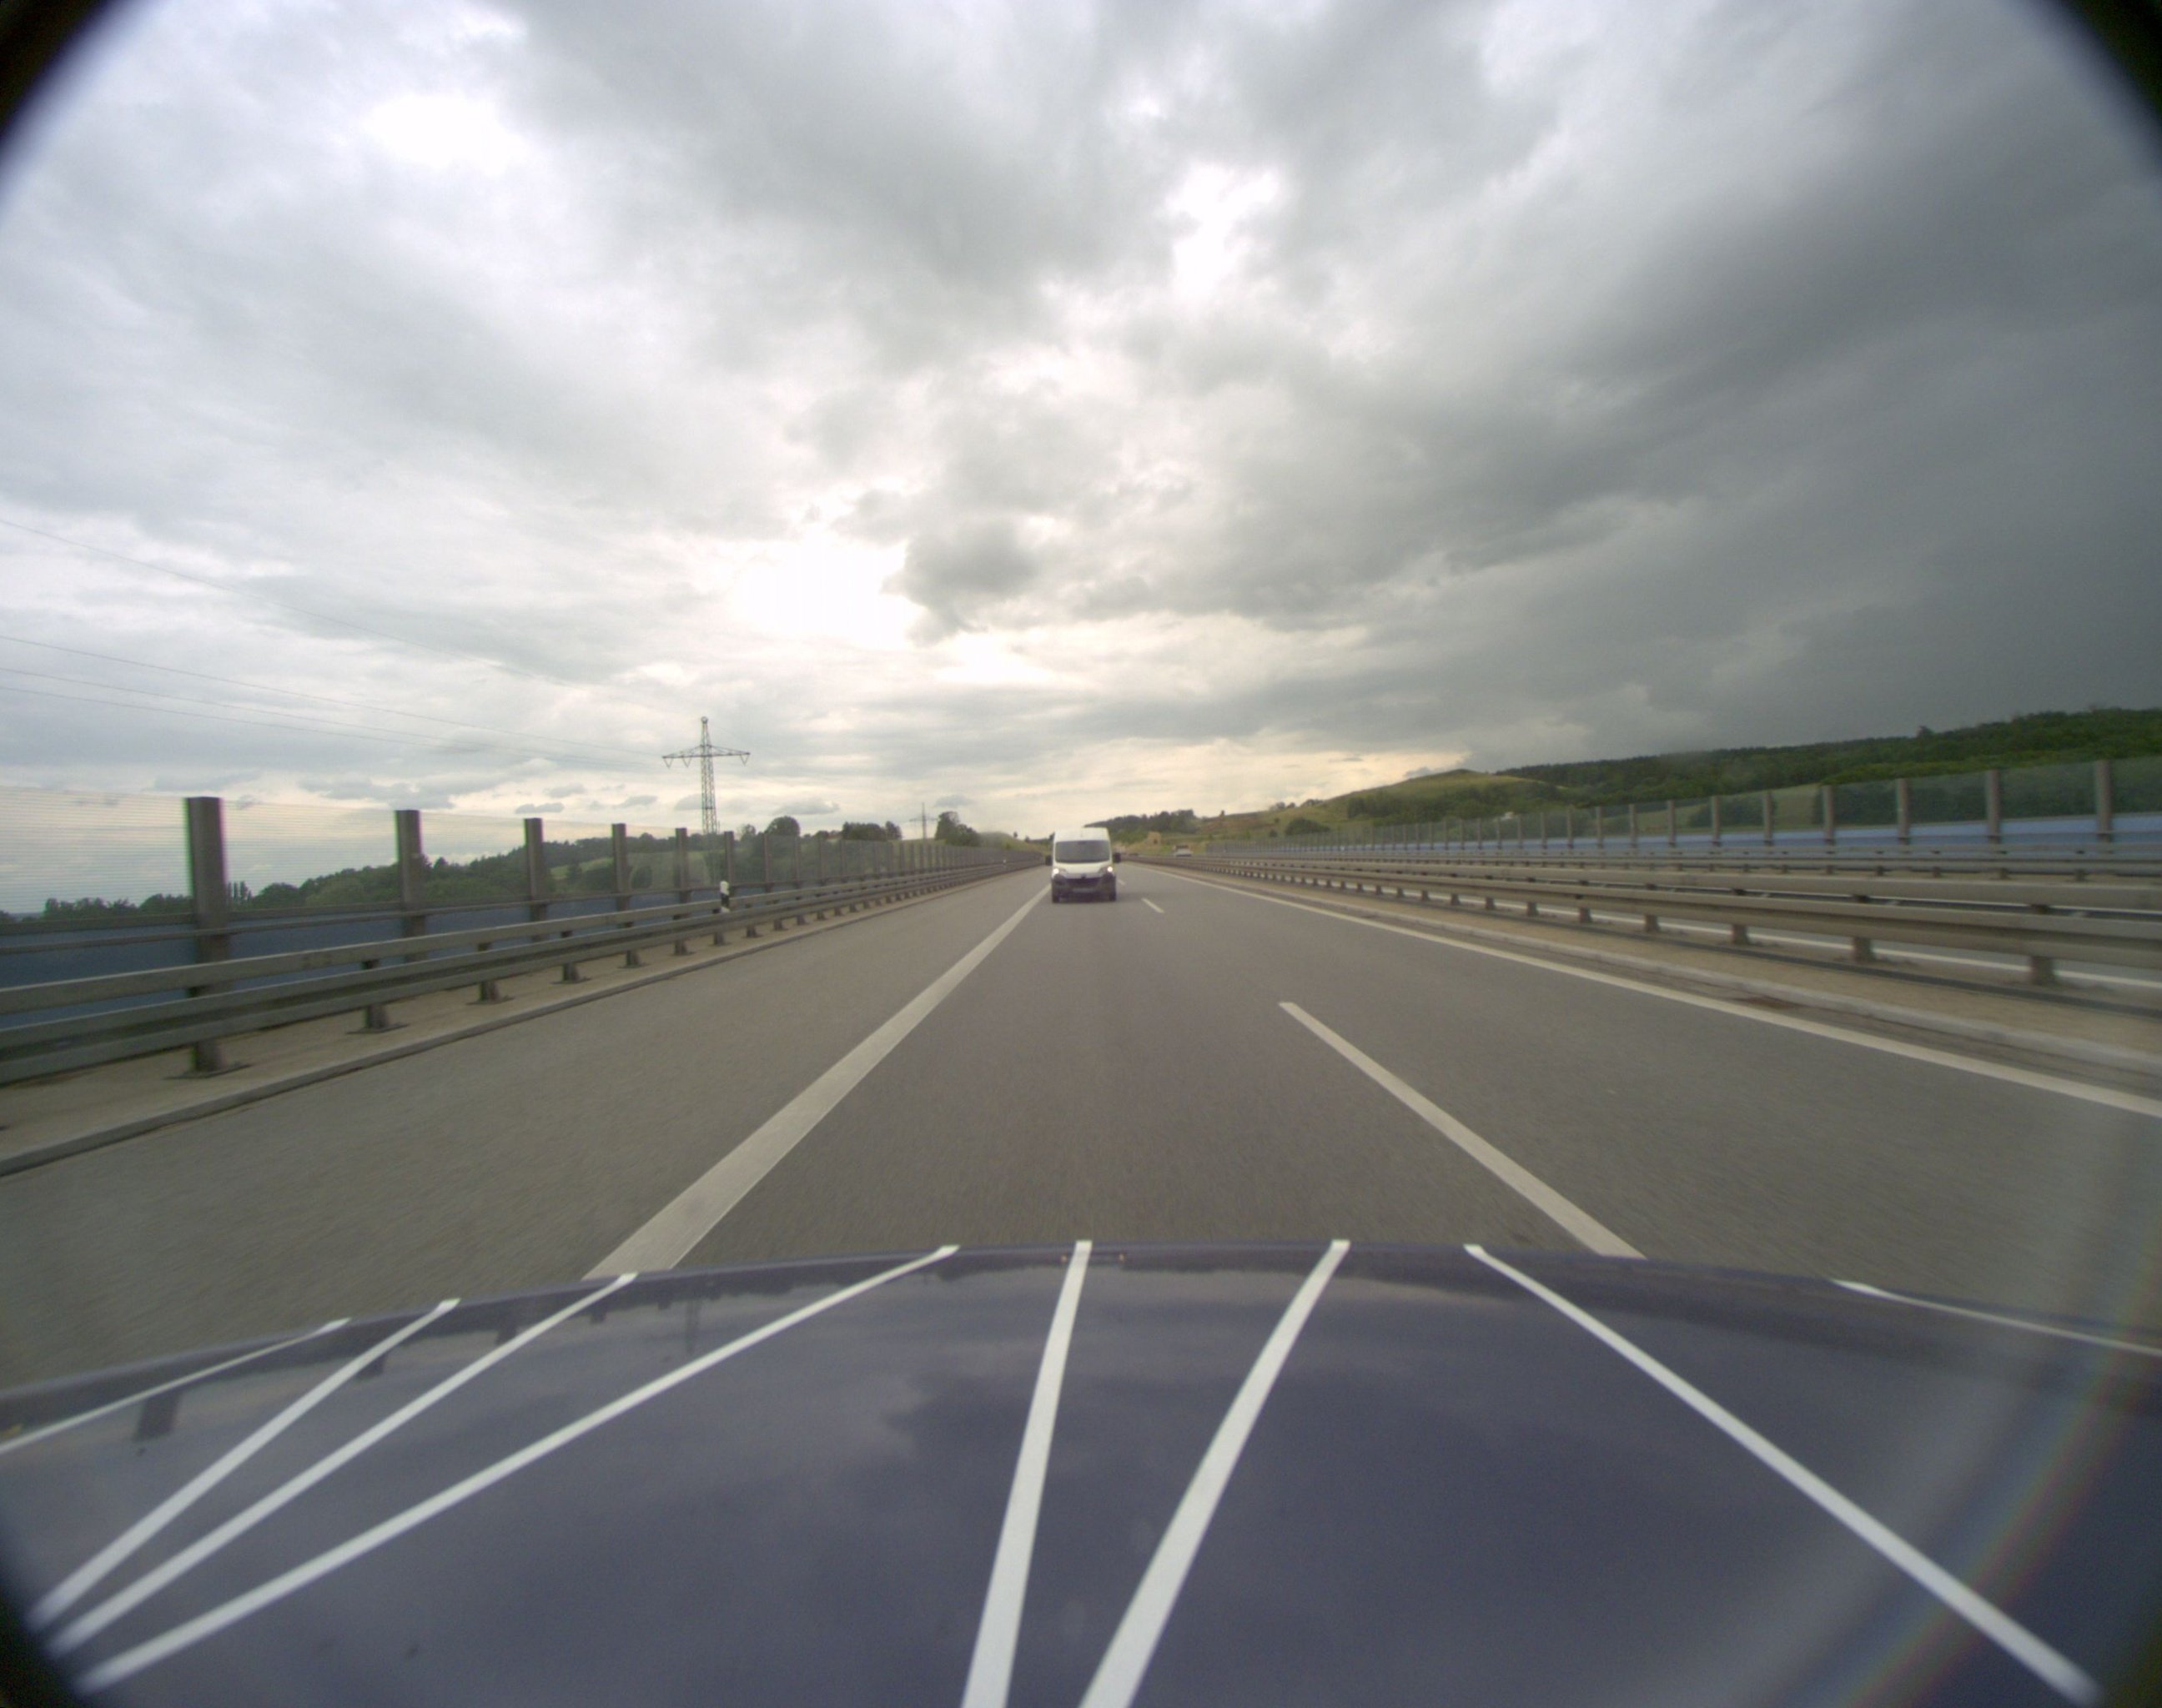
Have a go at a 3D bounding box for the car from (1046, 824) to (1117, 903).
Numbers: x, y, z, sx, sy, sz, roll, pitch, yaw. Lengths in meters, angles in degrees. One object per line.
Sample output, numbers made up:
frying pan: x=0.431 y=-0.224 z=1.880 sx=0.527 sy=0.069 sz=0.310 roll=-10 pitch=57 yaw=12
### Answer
car: x=0.110 y=0.300 z=26.665 sx=2.132 sy=2.411 sz=6.112 roll=-1 pitch=0 yaw=2

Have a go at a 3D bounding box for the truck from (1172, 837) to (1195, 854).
truck: x=15.118 y=-1.210 z=112.518 sx=2.278 sy=2.417 sz=7.451 roll=-2 pitch=0 yaw=1

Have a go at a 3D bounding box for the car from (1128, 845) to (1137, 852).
car: x=11.977 y=-1.324 z=177.600 sx=1.758 sy=1.483 sz=4.000 roll=-2 pitch=0 yaw=1
